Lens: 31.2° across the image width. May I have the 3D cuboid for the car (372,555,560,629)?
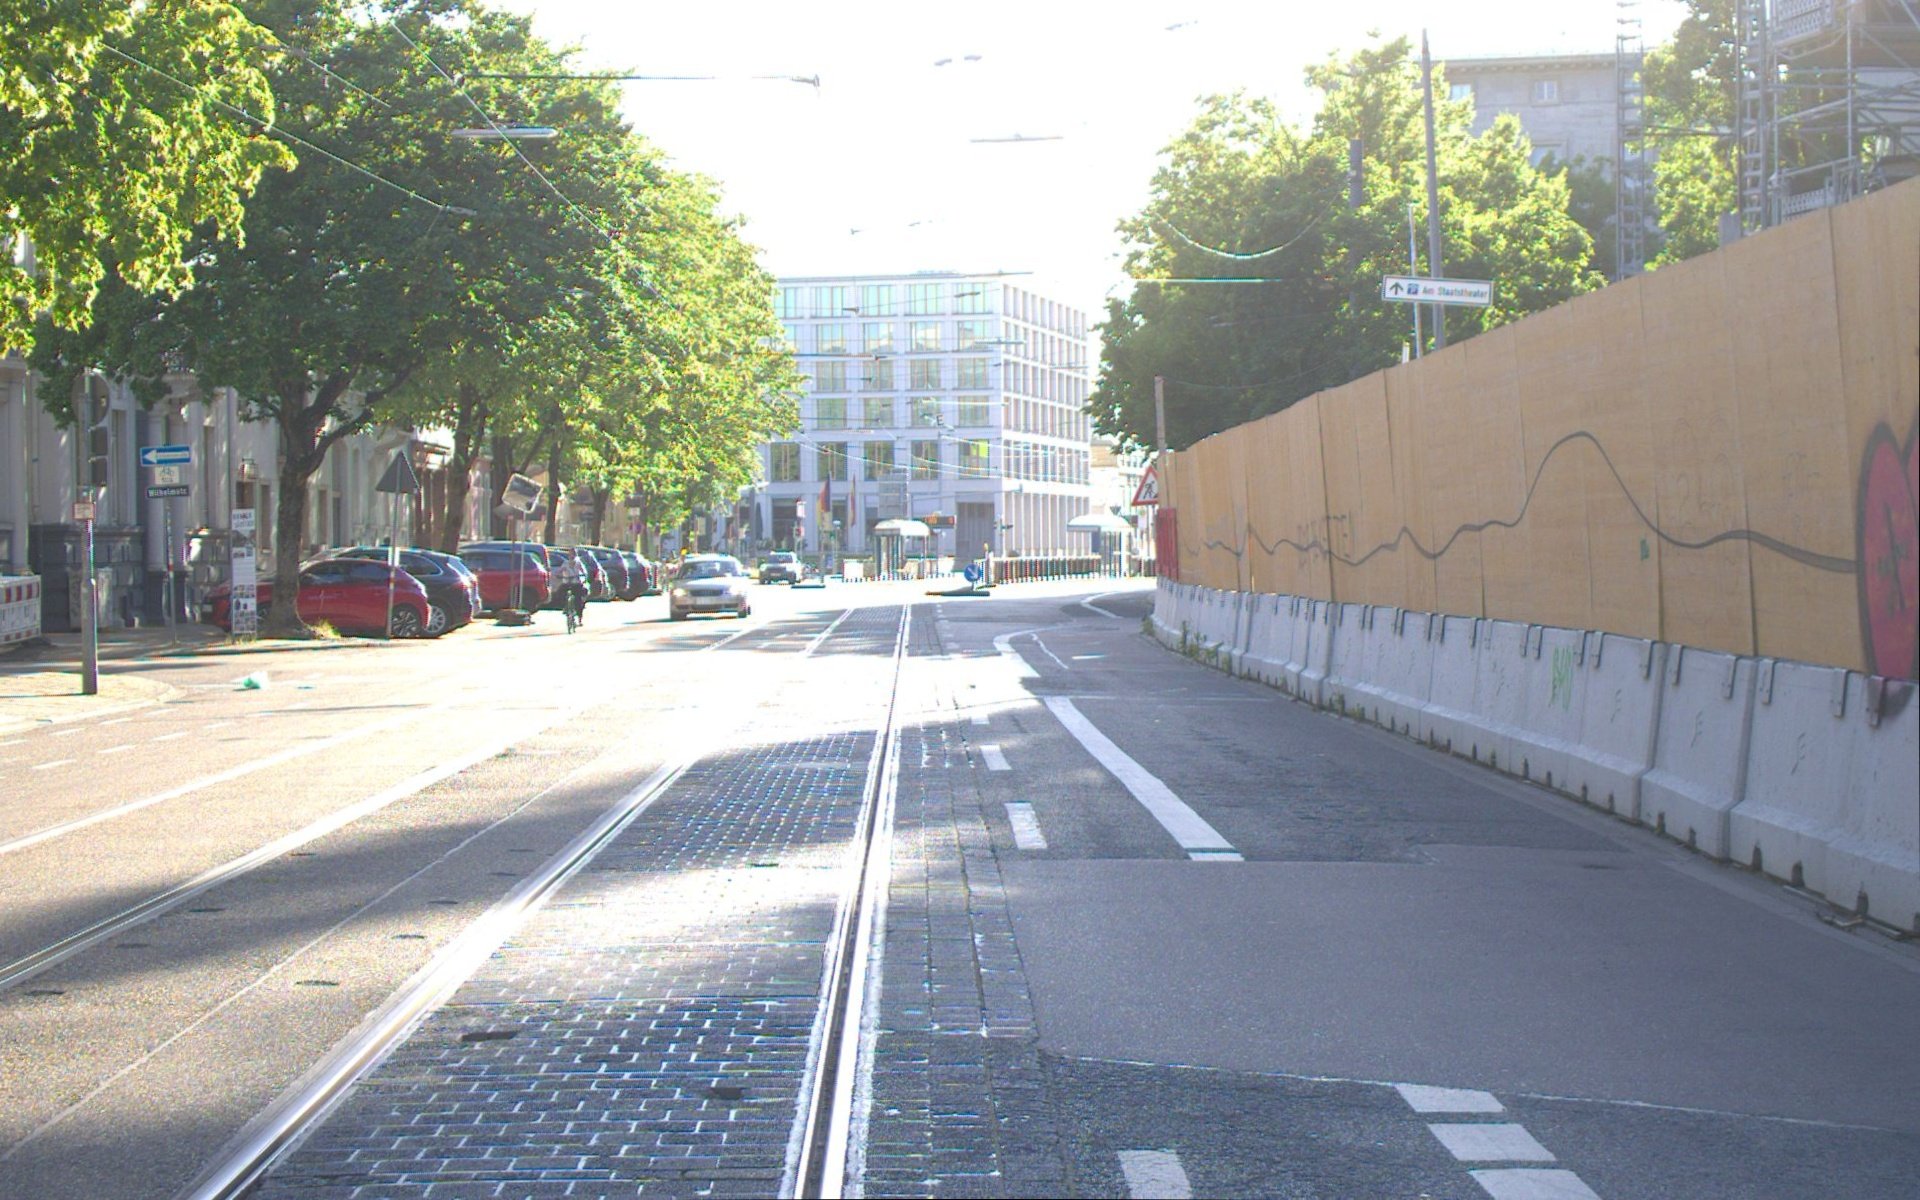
[{"bbox_3d":[-11.852,-0.203,82.468,4.159,1.715,1.584,-1,1,-28],"label":"car"}]

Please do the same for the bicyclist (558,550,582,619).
[{"bbox_3d":[-7.858,-0.311,69.270,0.457,1.373,0.641,-1,1,-6],"label":"bicyclist"}]

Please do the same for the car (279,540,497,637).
[{"bbox_3d":[-10.706,-0.235,64.432,3.674,1.715,1.611,-2,1,-35],"label":"car"}]

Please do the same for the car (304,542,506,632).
[{"bbox_3d":[-11.210,-0.271,69.487,3.674,1.715,1.611,-2,1,-35],"label":"car"}]

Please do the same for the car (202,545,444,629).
[{"bbox_3d":[-11.341,-0.225,61.307,3.901,1.448,1.638,0,0,-34],"label":"car"}]

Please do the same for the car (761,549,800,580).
[{"bbox_3d":[-9.196,-1.846,176.244,1.558,1.525,4.000,-1,1,4],"label":"car"}]

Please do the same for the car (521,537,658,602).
[{"bbox_3d":[-9.989,-0.830,92.793,3.373,1.692,1.405,-1,1,-28],"label":"car"}]

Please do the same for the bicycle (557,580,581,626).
[{"bbox_3d":[-7.879,0.058,69.270,0.449,0.878,1.901,-1,1,-6],"label":"bicycle"}]

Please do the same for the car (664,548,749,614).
[{"bbox_3d":[-5.869,-0.464,79.904,1.709,1.431,4.171,-1,1,-1],"label":"car"}]
